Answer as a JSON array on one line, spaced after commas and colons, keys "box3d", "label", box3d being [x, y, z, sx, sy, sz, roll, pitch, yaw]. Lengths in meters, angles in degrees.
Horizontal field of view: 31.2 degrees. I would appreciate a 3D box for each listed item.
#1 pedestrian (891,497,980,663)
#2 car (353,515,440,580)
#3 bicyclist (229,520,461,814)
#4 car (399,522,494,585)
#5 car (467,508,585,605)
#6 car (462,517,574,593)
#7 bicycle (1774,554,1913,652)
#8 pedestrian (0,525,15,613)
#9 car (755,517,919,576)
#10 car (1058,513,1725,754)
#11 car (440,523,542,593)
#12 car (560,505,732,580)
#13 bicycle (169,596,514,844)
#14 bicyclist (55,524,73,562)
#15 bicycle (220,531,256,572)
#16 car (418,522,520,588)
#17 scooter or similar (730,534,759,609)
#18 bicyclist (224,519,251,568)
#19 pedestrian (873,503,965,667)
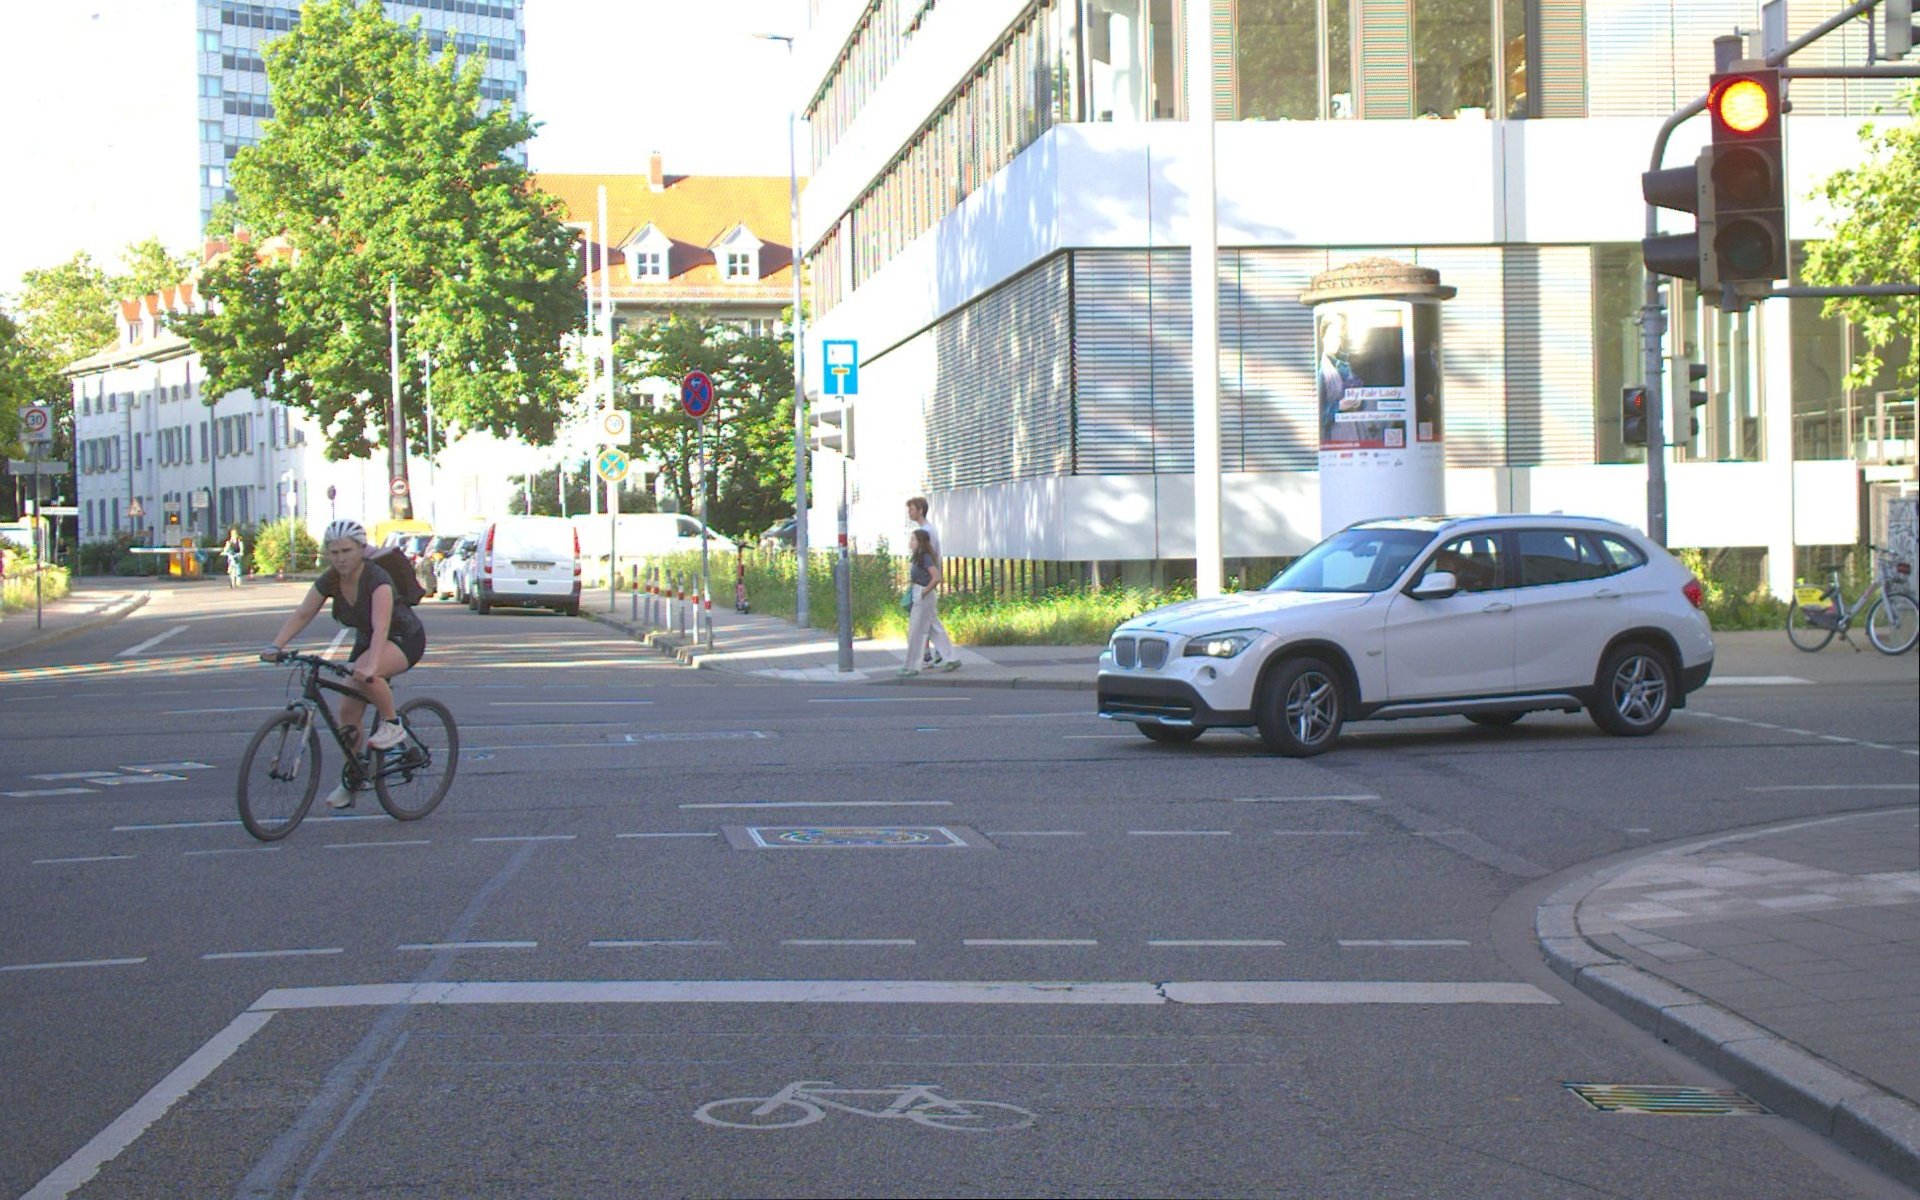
[{"box3d": [-0.265, -0.220, 37.384, 0.766, 1.789, 0.647, 1, 0, 21], "label": "pedestrian"}, {"box3d": [-15.735, -1.455, 95.832, 1.993, 1.719, 4.653, 1, 1, -14], "label": "car"}, {"box3d": [-3.120, 0.321, 17.483, 0.627, 1.441, 0.972, 0, 1, 35], "label": "bicyclist"}, {"box3d": [-12.877, -1.166, 85.975, 1.993, 1.493, 4.653, 1, 1, -13], "label": "car"}, {"box3d": [-8.218, -0.816, 64.819, 1.993, 1.719, 4.653, 1, 1, -10], "label": "car"}, {"box3d": [-9.169, -0.935, 71.032, 1.993, 1.493, 4.653, 1, 1, -11], "label": "car"}, {"box3d": [9.284, 0.024, 36.144, 0.378, 1.005, 1.432, -2, 2, -42], "label": "bicycle"}, {"box3d": [-17.413, -0.566, 61.952, 0.699, 1.581, 0.637, 1, 0, -16], "label": "pedestrian"}, {"box3d": [-3.751, -1.632, 104.771, 4.635, 1.719, 2.001, 1, 0, -16], "label": "car"}, {"box3d": [2.984, 0.171, 23.523, 4.355, 1.509, 1.719, -1, 1, -29], "label": "car"}, {"box3d": [-10.502, -0.936, 76.804, 1.993, 1.493, 4.653, 1, 1, -11], "label": "car"}, {"box3d": [-9.398, -1.706, 102.927, 4.791, 2.151, 2.001, 1, 0, -17], "label": "car"}, {"box3d": [-3.120, 0.576, 17.491, 0.627, 1.148, 1.780, 0, 2, 35], "label": "bicycle"}, {"box3d": [-34.997, -2.244, 134.303, 0.615, 1.467, 0.741, -1, 1, -16], "label": "bicyclist"}, {"box3d": [-20.374, -1.376, 96.988, 0.590, 1.148, 1.970, -1, 1, 0], "label": "bicycle"}, {"box3d": [-11.624, -1.062, 81.252, 1.993, 1.493, 4.288, 1, 1, -13], "label": "car"}, {"box3d": [-3.658, -0.490, 58.288, 0.437, 1.252, 1.420, -1, 1, -4], "label": "scooter or similar"}, {"box3d": [-20.384, -1.597, 96.960, 0.590, 1.392, 0.747, -1, 1, 0], "label": "bicyclist"}, {"box3d": [-0.433, -0.162, 36.520, 0.766, 1.713, 0.647, 1, 0, 21], "label": "pedestrian"}]
